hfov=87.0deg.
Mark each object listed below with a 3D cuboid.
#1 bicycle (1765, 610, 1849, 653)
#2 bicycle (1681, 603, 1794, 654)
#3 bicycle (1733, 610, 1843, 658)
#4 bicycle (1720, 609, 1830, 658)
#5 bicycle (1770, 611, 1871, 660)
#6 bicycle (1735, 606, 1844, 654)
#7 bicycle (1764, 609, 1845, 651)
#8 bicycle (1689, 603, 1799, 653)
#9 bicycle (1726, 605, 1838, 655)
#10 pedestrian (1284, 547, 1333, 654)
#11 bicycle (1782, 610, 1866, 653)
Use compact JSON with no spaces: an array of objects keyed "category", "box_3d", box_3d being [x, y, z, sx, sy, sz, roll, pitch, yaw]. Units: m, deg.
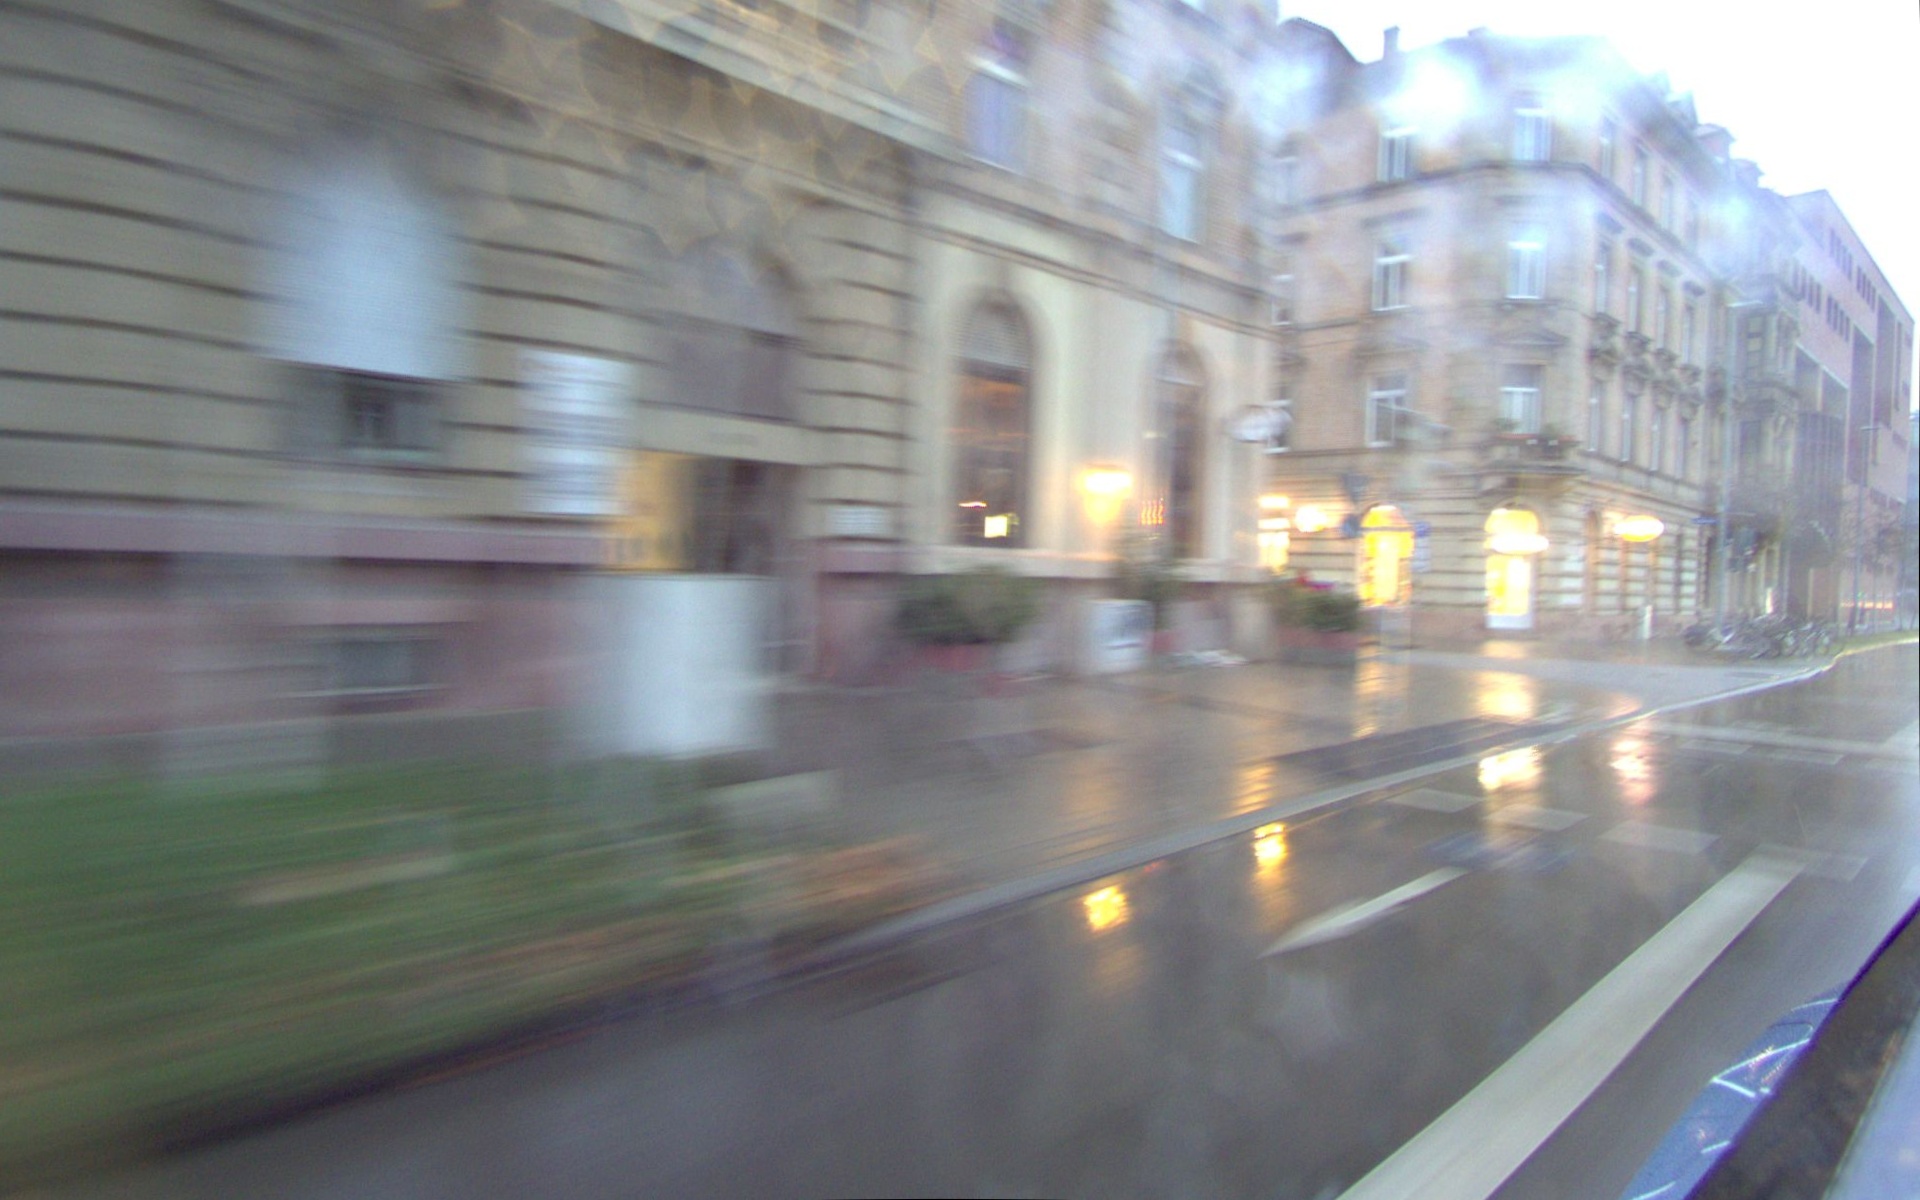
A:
[{"category":"bicycle","box_3d":[23.883,0.867,28.572,0.365,1.068,1.733,1,3,-41]},{"category":"bicycle","box_3d":[18.887,0.672,24.625,2.072,1.065,0.474,4,2,24]},{"category":"bicycle","box_3d":[21.807,0.868,26.698,0.476,1.068,2.148,1,3,-41]},{"category":"bicycle","box_3d":[20.736,0.832,25.802,0.470,1.065,2.091,1,3,-42]},{"category":"bicycle","box_3d":[23.769,0.961,27.979,0.418,1.108,2.012,1,4,-41]},{"category":"bicycle","box_3d":[22.193,0.788,27.112,0.418,1.067,2.149,2,3,-42]},{"category":"bicycle","box_3d":[24.527,0.859,29.413,0.365,1.068,1.733,1,3,-41]},{"category":"bicycle","box_3d":[19.698,0.682,25.481,0.470,1.065,2.091,1,3,-42]},{"category":"bicycle","box_3d":[21.137,0.757,26.069,0.418,1.067,2.149,2,3,-41]},{"category":"pedestrian","box_3d":[6.895,0.000,20.047,0.845,2.039,0.913,2,1,20]},{"category":"bicycle","box_3d":[24.484,0.889,28.715,0.365,1.068,1.733,1,3,-41]}]
